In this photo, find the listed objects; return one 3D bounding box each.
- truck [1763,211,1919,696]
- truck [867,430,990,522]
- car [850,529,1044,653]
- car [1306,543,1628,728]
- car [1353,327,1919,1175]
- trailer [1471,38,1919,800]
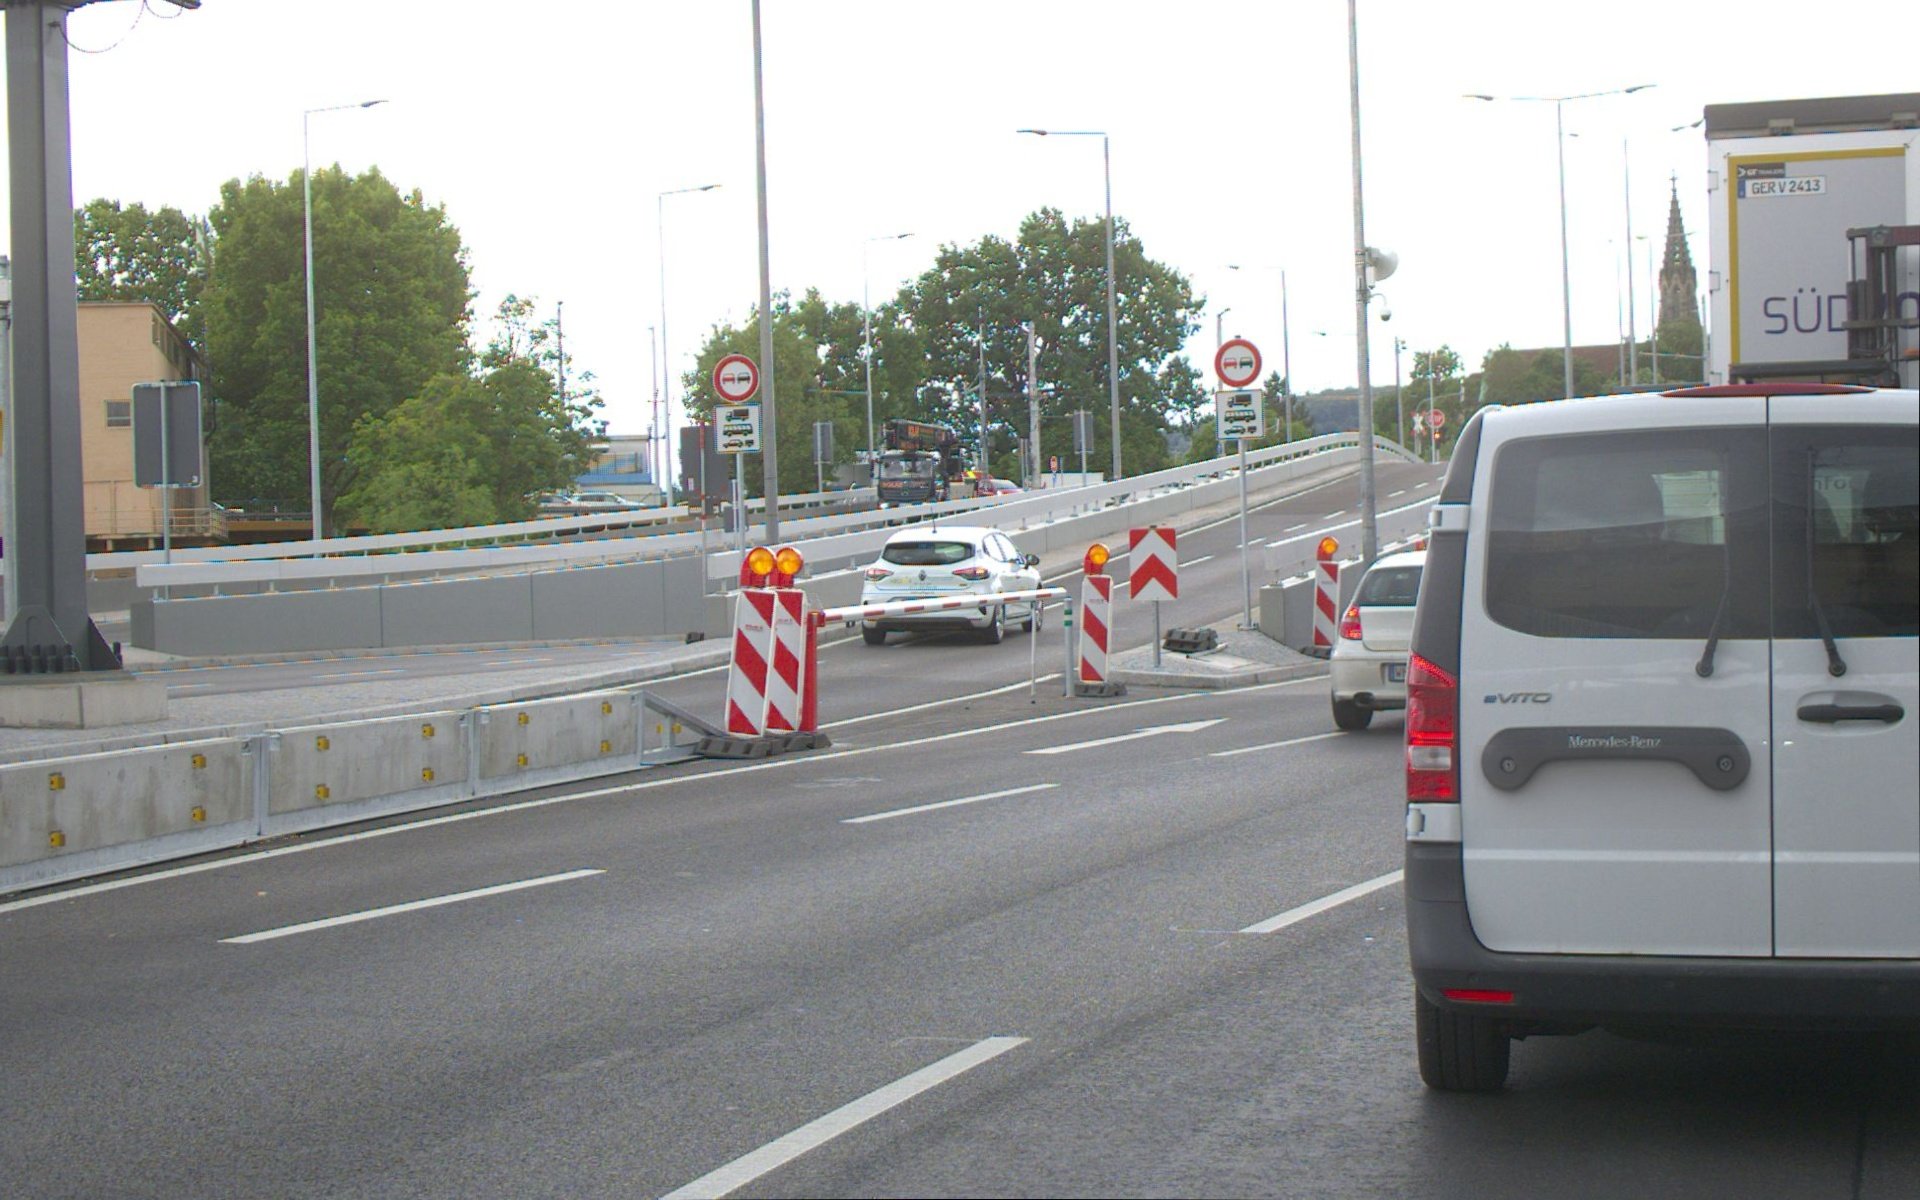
[{"bbox_3d":[10.718,-1.297,34.156,3.728,4.127,10.971,0,1,22],"label":"truck"},{"bbox_3d":[-1.144,-4.896,133.818,2.734,3.378,10.616,1,3,11],"label":"truck"},{"bbox_3d":[-0.111,-0.117,43.411,1.744,1.427,3.774,2,0,10],"label":"car"},{"bbox_3d":[4.259,0.257,28.321,1.718,1.393,4.342,1,0,21],"label":"car"},{"bbox_3d":[2.407,0.333,10.650,1.994,1.983,5.197,0,0,11],"label":"car"},{"bbox_3d":[6.670,-1.033,23.945,3.728,4.127,10.971,0,1,22],"label":"trailer"}]
